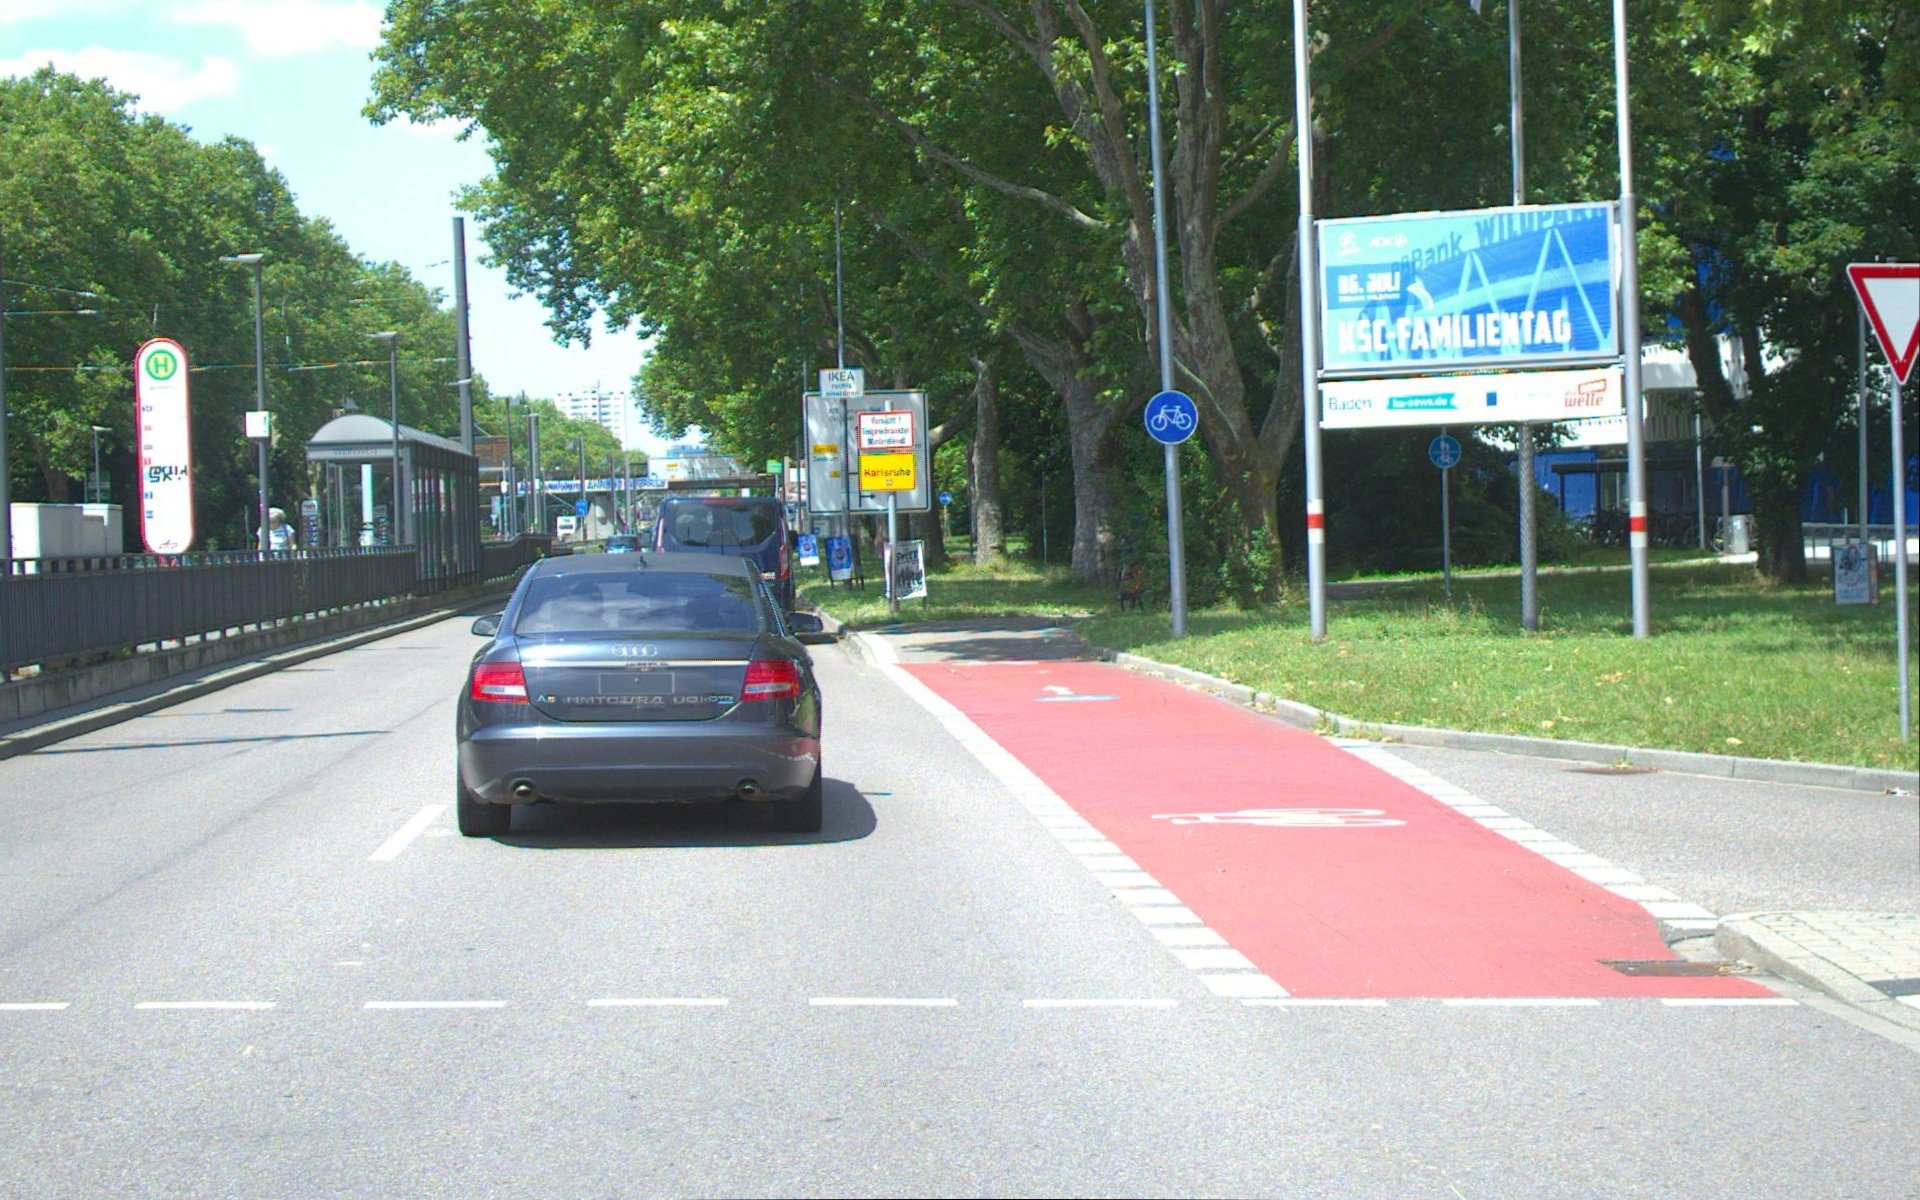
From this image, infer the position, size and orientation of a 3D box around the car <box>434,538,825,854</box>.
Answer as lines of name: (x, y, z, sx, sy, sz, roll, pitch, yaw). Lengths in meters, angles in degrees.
car: (-1.752, 0.416, 18.346, 1.842, 1.479, 4.001, 0, 1, -5)

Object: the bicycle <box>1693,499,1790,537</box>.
bicycle: (20.147, -2.114, 88.655, 2.315, 0.957, 0.759, -1, 1, -8)

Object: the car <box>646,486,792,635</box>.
car: (-3.261, -0.556, 47.159, 1.848, 1.953, 4.145, 0, 1, -2)

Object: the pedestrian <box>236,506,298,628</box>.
pedestrian: (-9.583, -0.465, 47.569, 0.732, 1.660, 0.742, -1, 1, -4)

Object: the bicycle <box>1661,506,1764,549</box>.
bicycle: (19.859, -1.920, 90.716, 2.545, 1.107, 0.759, -1, 1, -8)

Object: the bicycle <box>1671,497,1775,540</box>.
bicycle: (19.904, -2.127, 89.679, 2.545, 1.107, 0.759, -1, 1, -8)
